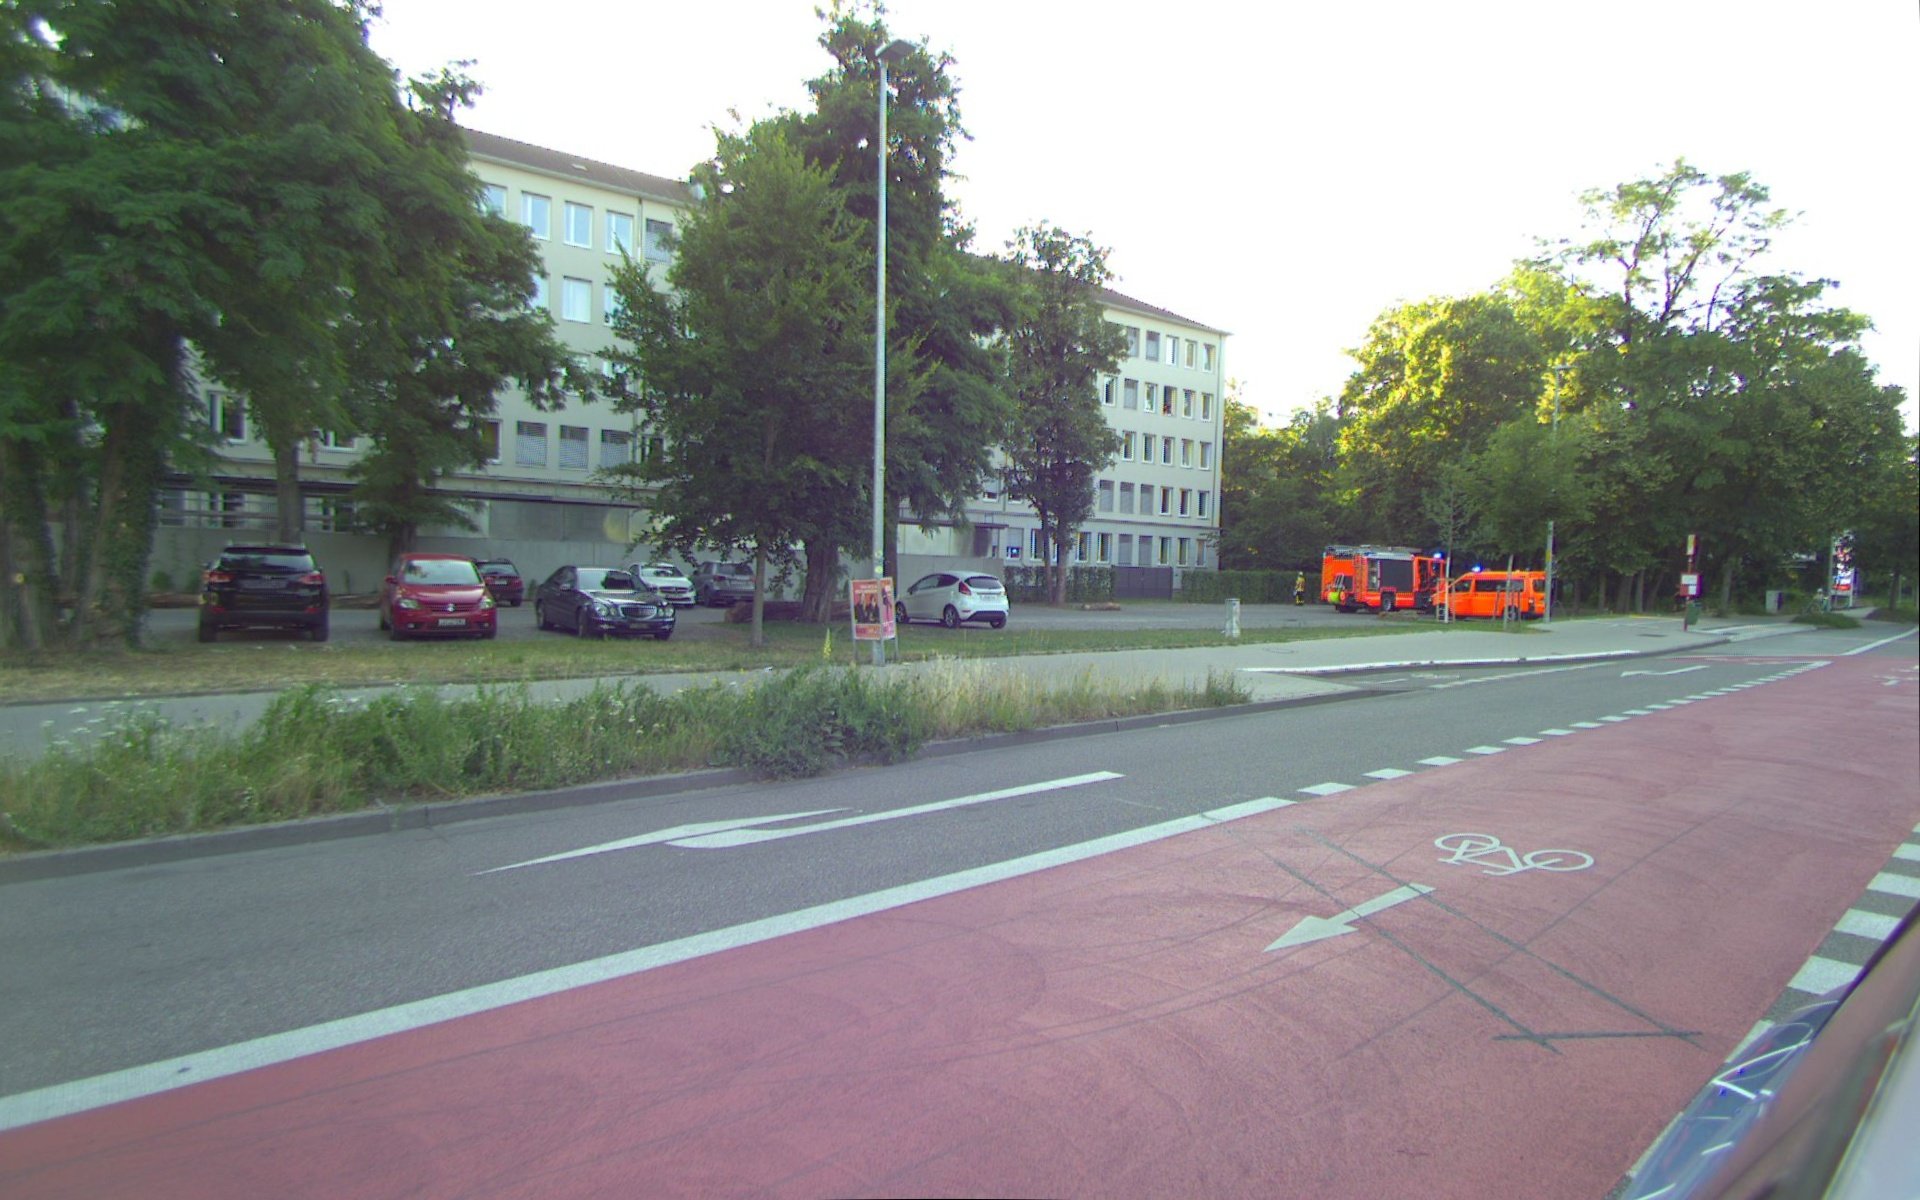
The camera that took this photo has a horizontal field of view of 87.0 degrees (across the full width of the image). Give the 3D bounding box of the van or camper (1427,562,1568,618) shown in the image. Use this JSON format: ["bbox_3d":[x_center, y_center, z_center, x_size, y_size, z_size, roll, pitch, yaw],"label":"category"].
[{"bbox_3d":[22.991,-0.470,43.462,2.250,2.272,4.832,0,1,-33],"label":"van or camper"}]

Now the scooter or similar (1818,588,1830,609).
[{"bbox_3d":[54.813,-0.080,64.207,0.482,1.297,1.123,5,3,41],"label":"scooter or similar"}]

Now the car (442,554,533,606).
[{"bbox_3d":[-14.464,-0.627,30.872,1.866,1.460,4.001,0,2,-35],"label":"car"}]

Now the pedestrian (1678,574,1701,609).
[{"bbox_3d":[42.096,-0.494,58.386,0.710,2.038,0.697,1,2,-15],"label":"pedestrian"}]

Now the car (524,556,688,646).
[{"bbox_3d":[-7.447,-0.082,21.011,1.866,1.465,4.584,-2,6,-37],"label":"car"}]

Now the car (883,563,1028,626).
[{"bbox_3d":[-0.194,-0.194,27.010,1.876,1.556,3.999,0,2,-37],"label":"car"}]

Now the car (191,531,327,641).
[{"bbox_3d":[-12.399,-0.277,17.892,1.802,1.715,3.910,0,1,-36],"label":"car"}]

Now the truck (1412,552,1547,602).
[{"bbox_3d":[36.658,-1.720,71.862,2.703,3.250,8.683,1,2,-24],"label":"truck"}]

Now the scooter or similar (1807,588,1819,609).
[{"bbox_3d":[53.185,-0.093,63.072,0.482,1.297,1.213,5,3,40],"label":"scooter or similar"}]

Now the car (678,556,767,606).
[{"bbox_3d":[-8.355,-0.688,35.425,1.875,1.636,4.004,-1,2,-32],"label":"car"}]

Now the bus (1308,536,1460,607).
[{"bbox_3d":[20.797,-1.340,49.461,7.810,3.236,2.999,0,1,-34],"label":"bus"}]

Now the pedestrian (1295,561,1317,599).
[{"bbox_3d":[18.957,-1.081,55.484,0.810,2.038,0.774,1,2,-32],"label":"pedestrian"}]

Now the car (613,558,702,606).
[{"bbox_3d":[-10.145,-0.623,33.729,1.798,1.494,4.002,0,1,-33],"label":"car"}]

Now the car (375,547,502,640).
[{"bbox_3d":[-10.155,-0.192,19.551,1.751,1.580,4.003,0,2,-34],"label":"car"}]

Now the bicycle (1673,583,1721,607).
[{"bbox_3d":[42.665,-0.295,58.631,0.815,1.109,1.976,5,6,-20],"label":"bicycle"}]
